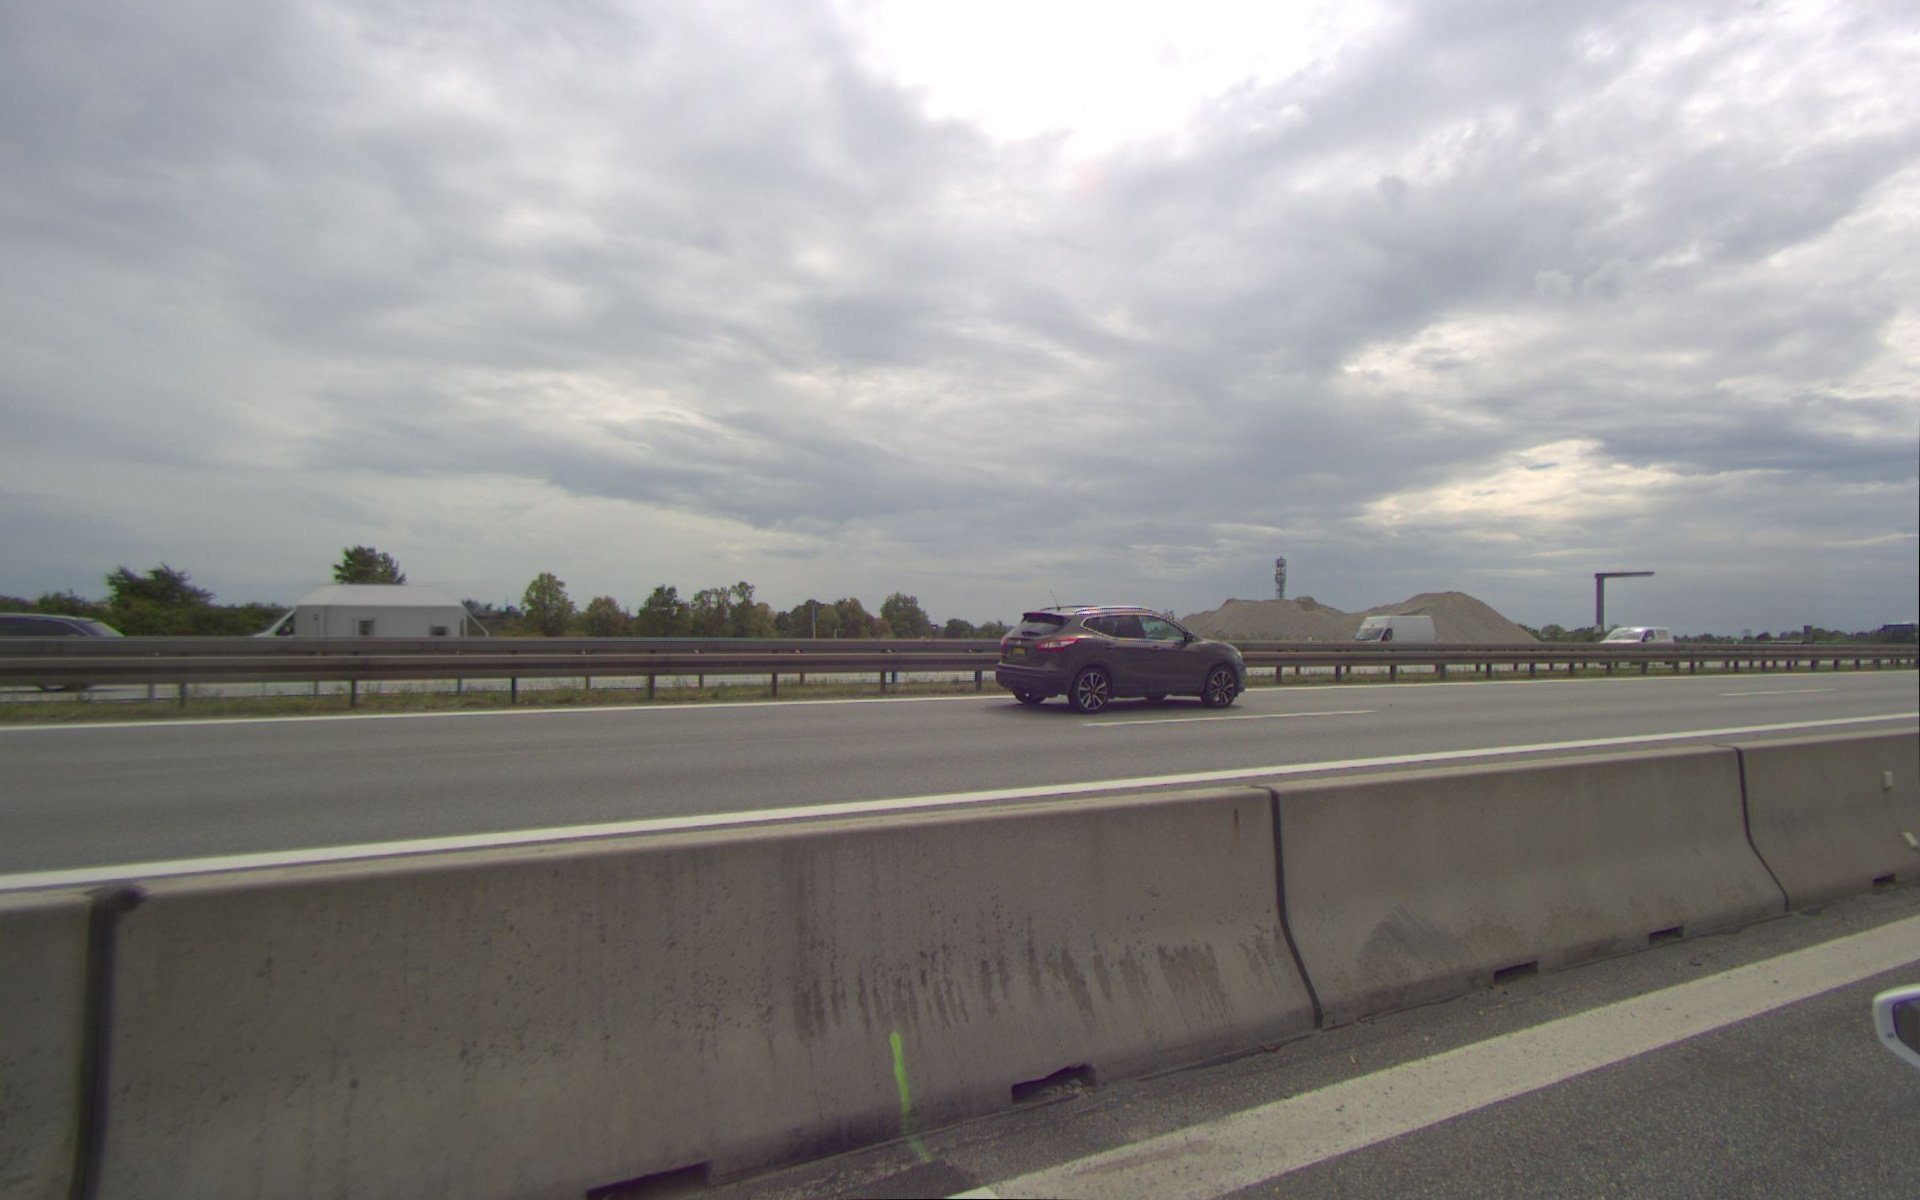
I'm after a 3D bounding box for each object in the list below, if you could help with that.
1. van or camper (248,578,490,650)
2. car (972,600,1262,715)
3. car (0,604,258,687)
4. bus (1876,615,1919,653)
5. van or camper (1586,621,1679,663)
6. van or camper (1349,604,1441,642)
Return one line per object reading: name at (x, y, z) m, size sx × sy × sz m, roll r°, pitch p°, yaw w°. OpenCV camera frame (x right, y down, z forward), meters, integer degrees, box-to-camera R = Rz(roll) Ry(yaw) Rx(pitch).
van or camper at (-18.053, 0.456, 30.979) m, size 6.210 × 2.040 × 2.222 m, roll 2°, pitch 0°, yaw -33°
car at (2.545, 0.869, 16.089) m, size 4.364 × 1.619 × 1.884 m, roll 2°, pitch 0°, yaw -29°
car at (-16.009, 0.849, 19.293) m, size 3.952 × 1.442 × 1.746 m, roll 1°, pitch 0°, yaw -30°
bus at (97.021, 3.462, 101.169) m, size 12.838 × 3.488 × 3.199 m, roll 2°, pitch 0°, yaw -30°
van or camper at (32.023, 1.974, 47.825) m, size 4.295 × 1.853 × 1.984 m, roll 2°, pitch 0°, yaw -30°
van or camper at (26.202, 1.393, 60.374) m, size 5.744 × 2.200 × 2.175 m, roll 2°, pitch 0°, yaw -32°
